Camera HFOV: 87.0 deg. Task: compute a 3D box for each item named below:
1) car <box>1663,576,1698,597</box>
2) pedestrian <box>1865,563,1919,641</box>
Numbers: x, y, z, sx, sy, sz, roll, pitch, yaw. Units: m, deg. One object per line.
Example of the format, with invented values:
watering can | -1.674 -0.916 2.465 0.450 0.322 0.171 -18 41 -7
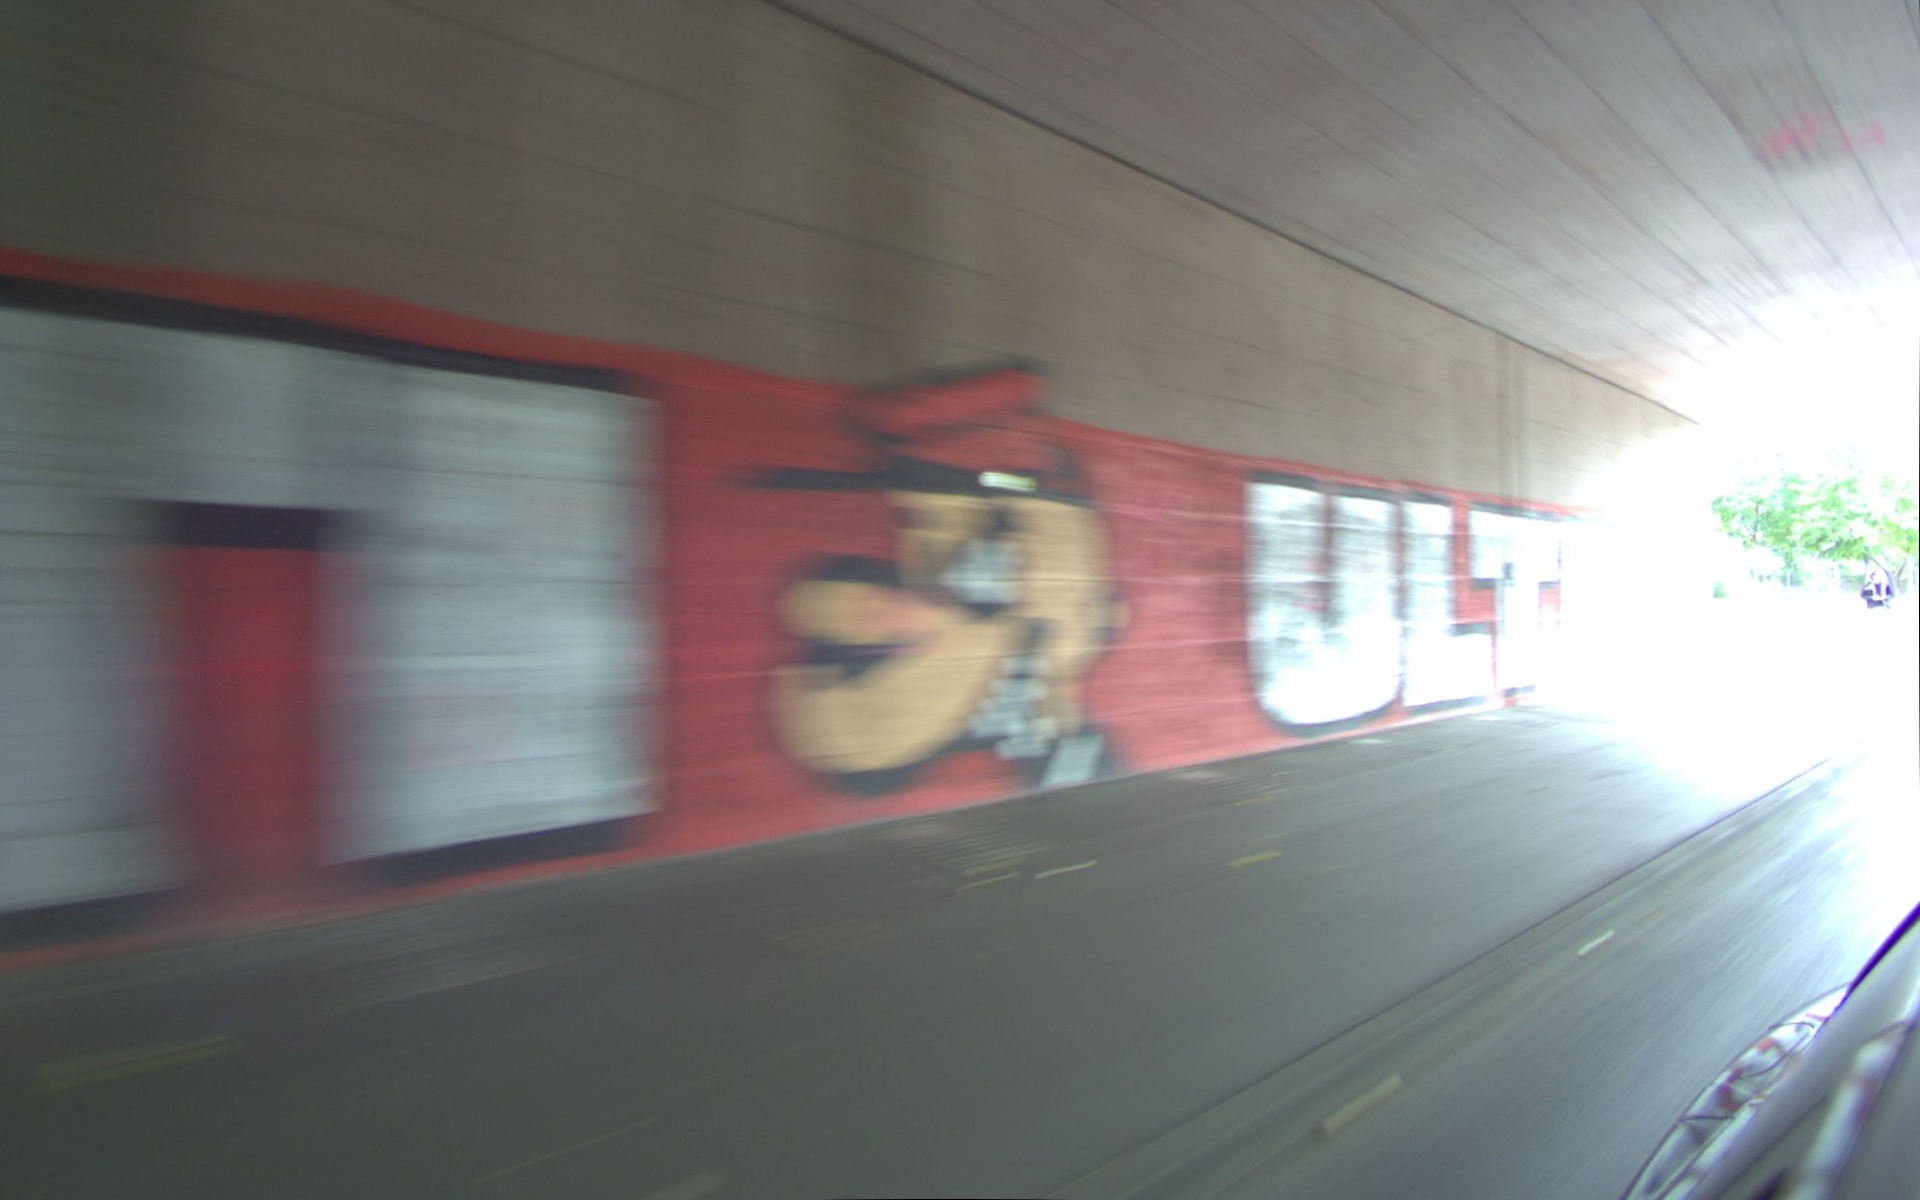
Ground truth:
car | 43.565 -0.823 61.144 1.618 1.254 4.005 0 0 37
pedestrian | 23.332 0.026 25.357 0.818 1.903 1.165 2 2 37
